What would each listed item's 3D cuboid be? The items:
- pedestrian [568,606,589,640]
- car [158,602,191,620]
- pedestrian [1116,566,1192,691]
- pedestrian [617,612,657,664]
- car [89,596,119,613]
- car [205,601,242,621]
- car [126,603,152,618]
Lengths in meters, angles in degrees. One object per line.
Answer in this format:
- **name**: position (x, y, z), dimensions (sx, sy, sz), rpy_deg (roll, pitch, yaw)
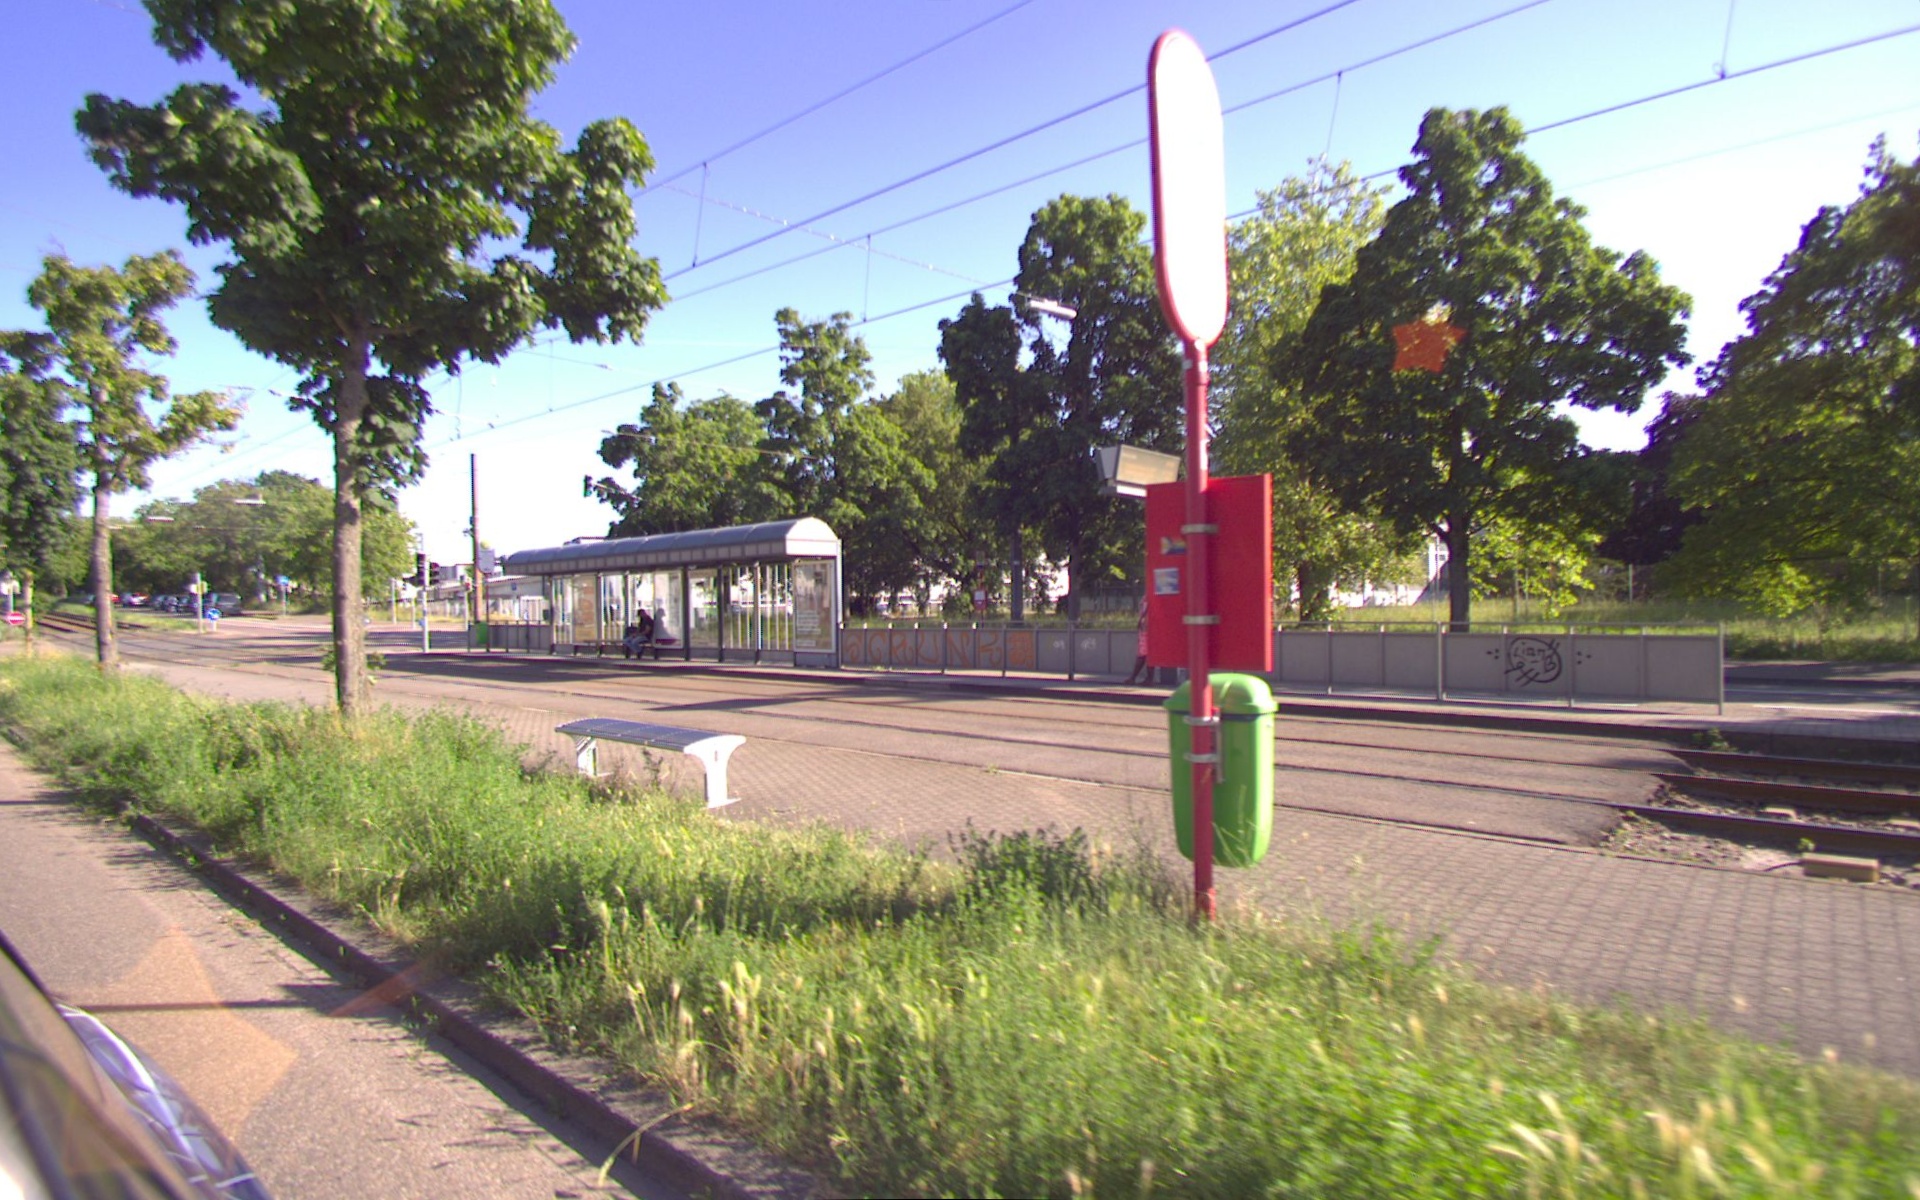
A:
- **pedestrian**: position (-19.767, 1.189, 52.422), dimensions (0.796, 1.689, 0.637), rpy_deg (-1, 0, 2)
- **car**: position (-71.265, 0.986, 91.770), dimensions (3.454, 1.597, 1.680), rpy_deg (-1, -1, 40)
- **pedestrian**: position (2.836, 0.396, 14.815), dimensions (0.781, 1.765, 0.776), rpy_deg (-1, 0, 40)
- **pedestrian**: position (-7.875, 0.921, 24.675), dimensions (0.679, 1.258, 0.643), rpy_deg (-1, -3, 32)
- **car**: position (-82.761, 0.420, 97.856), dimensions (3.454, 1.597, 1.680), rpy_deg (-1, -1, 40)
- **car**: position (-61.348, 0.903, 84.271), dimensions (3.454, 1.597, 1.749), rpy_deg (-1, -1, 40)
- **car**: position (-91.459, 1.192, 112.727), dimensions (3.454, 1.597, 1.680), rpy_deg (-1, -1, 40)
